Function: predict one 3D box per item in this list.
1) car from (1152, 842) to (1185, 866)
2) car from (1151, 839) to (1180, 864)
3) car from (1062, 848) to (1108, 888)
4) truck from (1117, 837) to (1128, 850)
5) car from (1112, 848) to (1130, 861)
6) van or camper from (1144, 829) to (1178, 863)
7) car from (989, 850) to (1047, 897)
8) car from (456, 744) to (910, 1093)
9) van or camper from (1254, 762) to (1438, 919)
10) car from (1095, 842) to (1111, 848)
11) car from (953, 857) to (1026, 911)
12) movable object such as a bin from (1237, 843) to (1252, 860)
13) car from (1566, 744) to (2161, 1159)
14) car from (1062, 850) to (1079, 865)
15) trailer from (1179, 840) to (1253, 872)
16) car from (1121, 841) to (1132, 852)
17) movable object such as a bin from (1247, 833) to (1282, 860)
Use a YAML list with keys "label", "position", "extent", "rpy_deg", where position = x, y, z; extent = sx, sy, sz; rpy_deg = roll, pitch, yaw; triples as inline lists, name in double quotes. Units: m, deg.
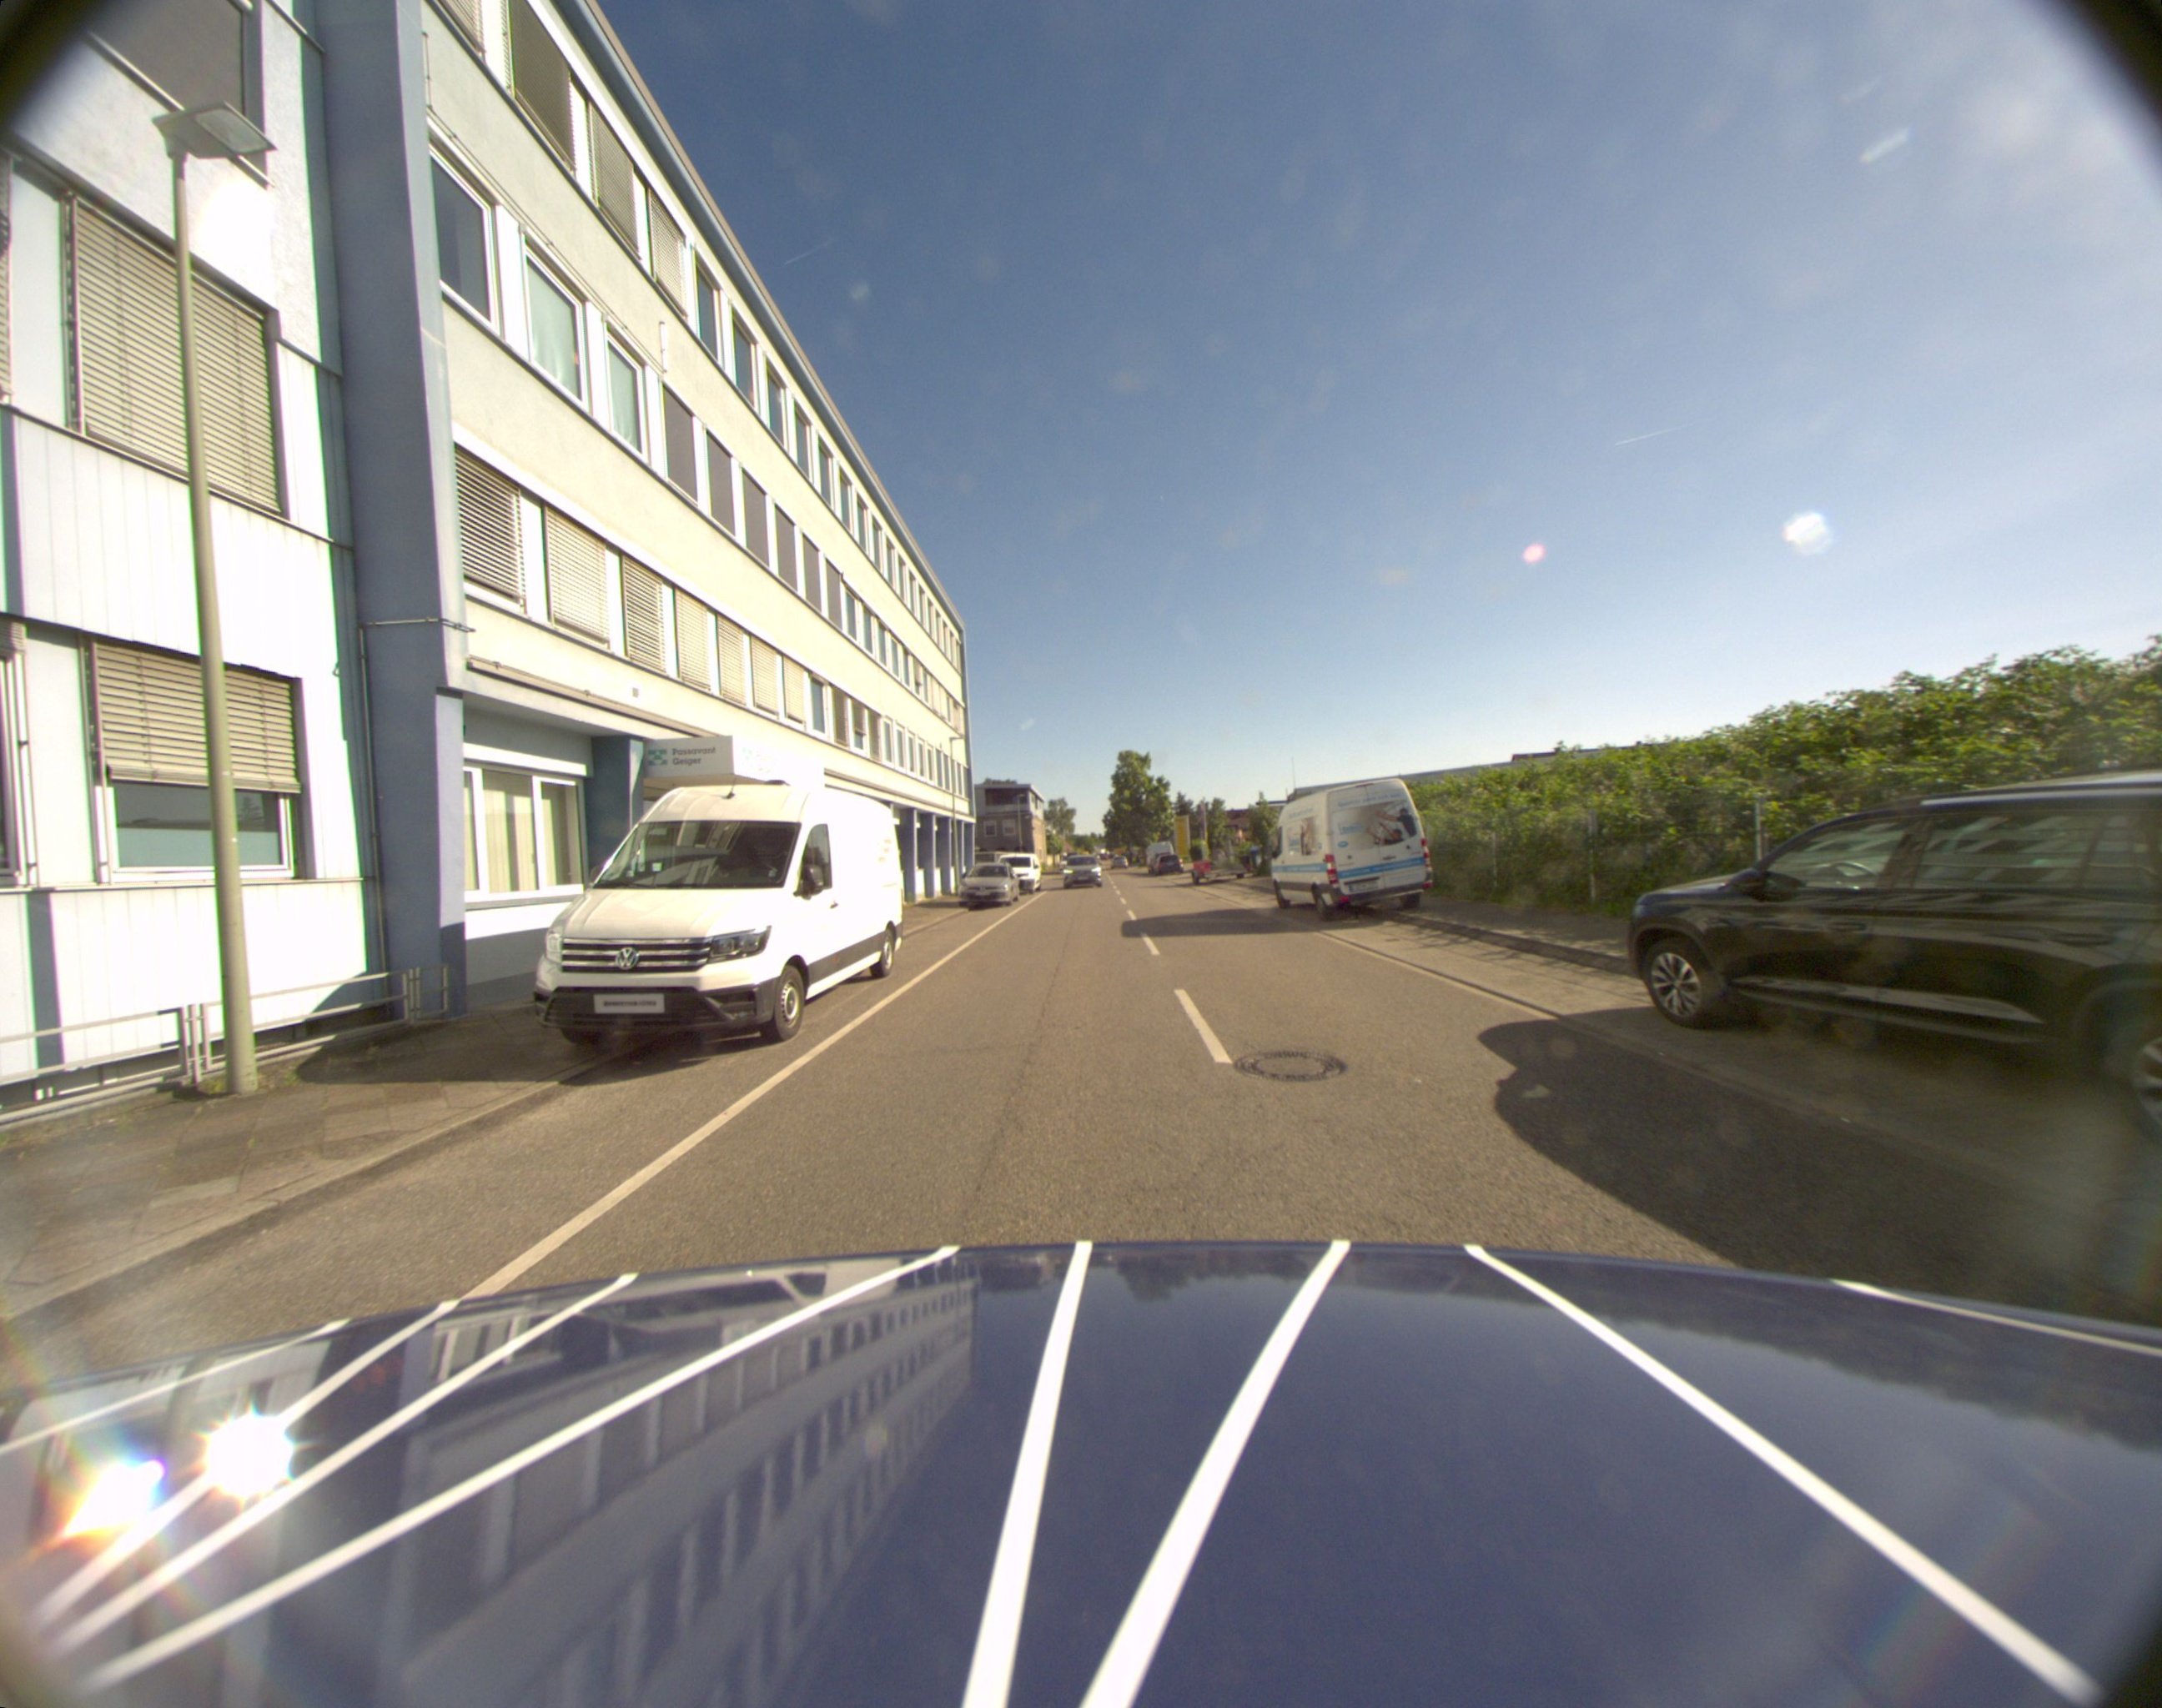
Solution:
- label: "car"
  position: [6.363, -0.041, 55.514]
  extent: [1.804, 1.501, 5.002]
  rpy_deg: [-7, 1, 2]
- label: "car"
  position: [6.702, -0.206, 60.786]
  extent: [1.998, 1.728, 4.575]
  rpy_deg: [-7, 0, 4]
- label: "car"
  position: [0.226, 0.636, 38.075]
  extent: [1.998, 1.750, 5.015]
  rpy_deg: [-4, 0, 1]
- label: "truck"
  position: [9.247, -2.299, 169.953]
  extent: [2.173, 2.698, 5.749]
  rpy_deg: [-5, 1, 2]
- label: "car"
  position: [4.578, 0.026, 87.270]
  extent: [1.751, 1.439, 4.360]
  rpy_deg: [-3, 1, 1]
- label: "van or camper"
  position: [6.897, -0.674, 66.326]
  extent: [2.076, 2.534, 6.403]
  rpy_deg: [-7, 0, 1]
- label: "car"
  position: [-2.793, 0.839, 34.938]
  extent: [1.894, 1.821, 5.090]
  rpy_deg: [-4, 1, 2]
- label: "car"
  position: [-3.684, 0.496, 8.771]
  extent: [1.999, 2.582, 6.050]
  rpy_deg: [-2, 0, 0]
- label: "van or camper"
  position: [5.629, -0.293, 17.152]
  extent: [1.971, 2.670, 5.948]
  rpy_deg: [-8, 0, 3]
- label: "car"
  position: [5.407, -2.292, 188.474]
  extent: [1.871, 1.412, 4.539]
  rpy_deg: [-1, 1, 34]
- label: "car"
  position: [-3.162, 0.984, 27.235]
  extent: [1.894, 1.551, 5.089]
  rpy_deg: [-4, 1, 0]
- label: "movable object such as a bin"
  position: [9.544, -0.143, 44.345]
  extent: [0.615, 0.967, 0.750]
  rpy_deg: [-2, 3, 25]
- label: "car"
  position: [5.496, 0.321, 4.311]
  extent: [2.035, 1.684, 5.106]
  rpy_deg: [-7, 1, 0]
- label: "car"
  position: [-1.246, 0.395, 93.768]
  extent: [1.937, 1.635, 4.769]
  rpy_deg: [-3, 1, 0]
- label: "trailer"
  position: [6.287, 0.095, 36.196]
  extent: [2.382, 1.073, 6.245]
  rpy_deg: [-7, 0, 1]
- label: "car"
  position: [8.243, -1.324, 138.378]
  extent: [1.779, 1.838, 4.615]
  rpy_deg: [-6, 1, 4]
- label: "movable object such as a bin"
  position: [10.529, -0.412, 43.560]
  extent: [1.620, 1.397, 1.097]
  rpy_deg: [-3, 1, 29]
